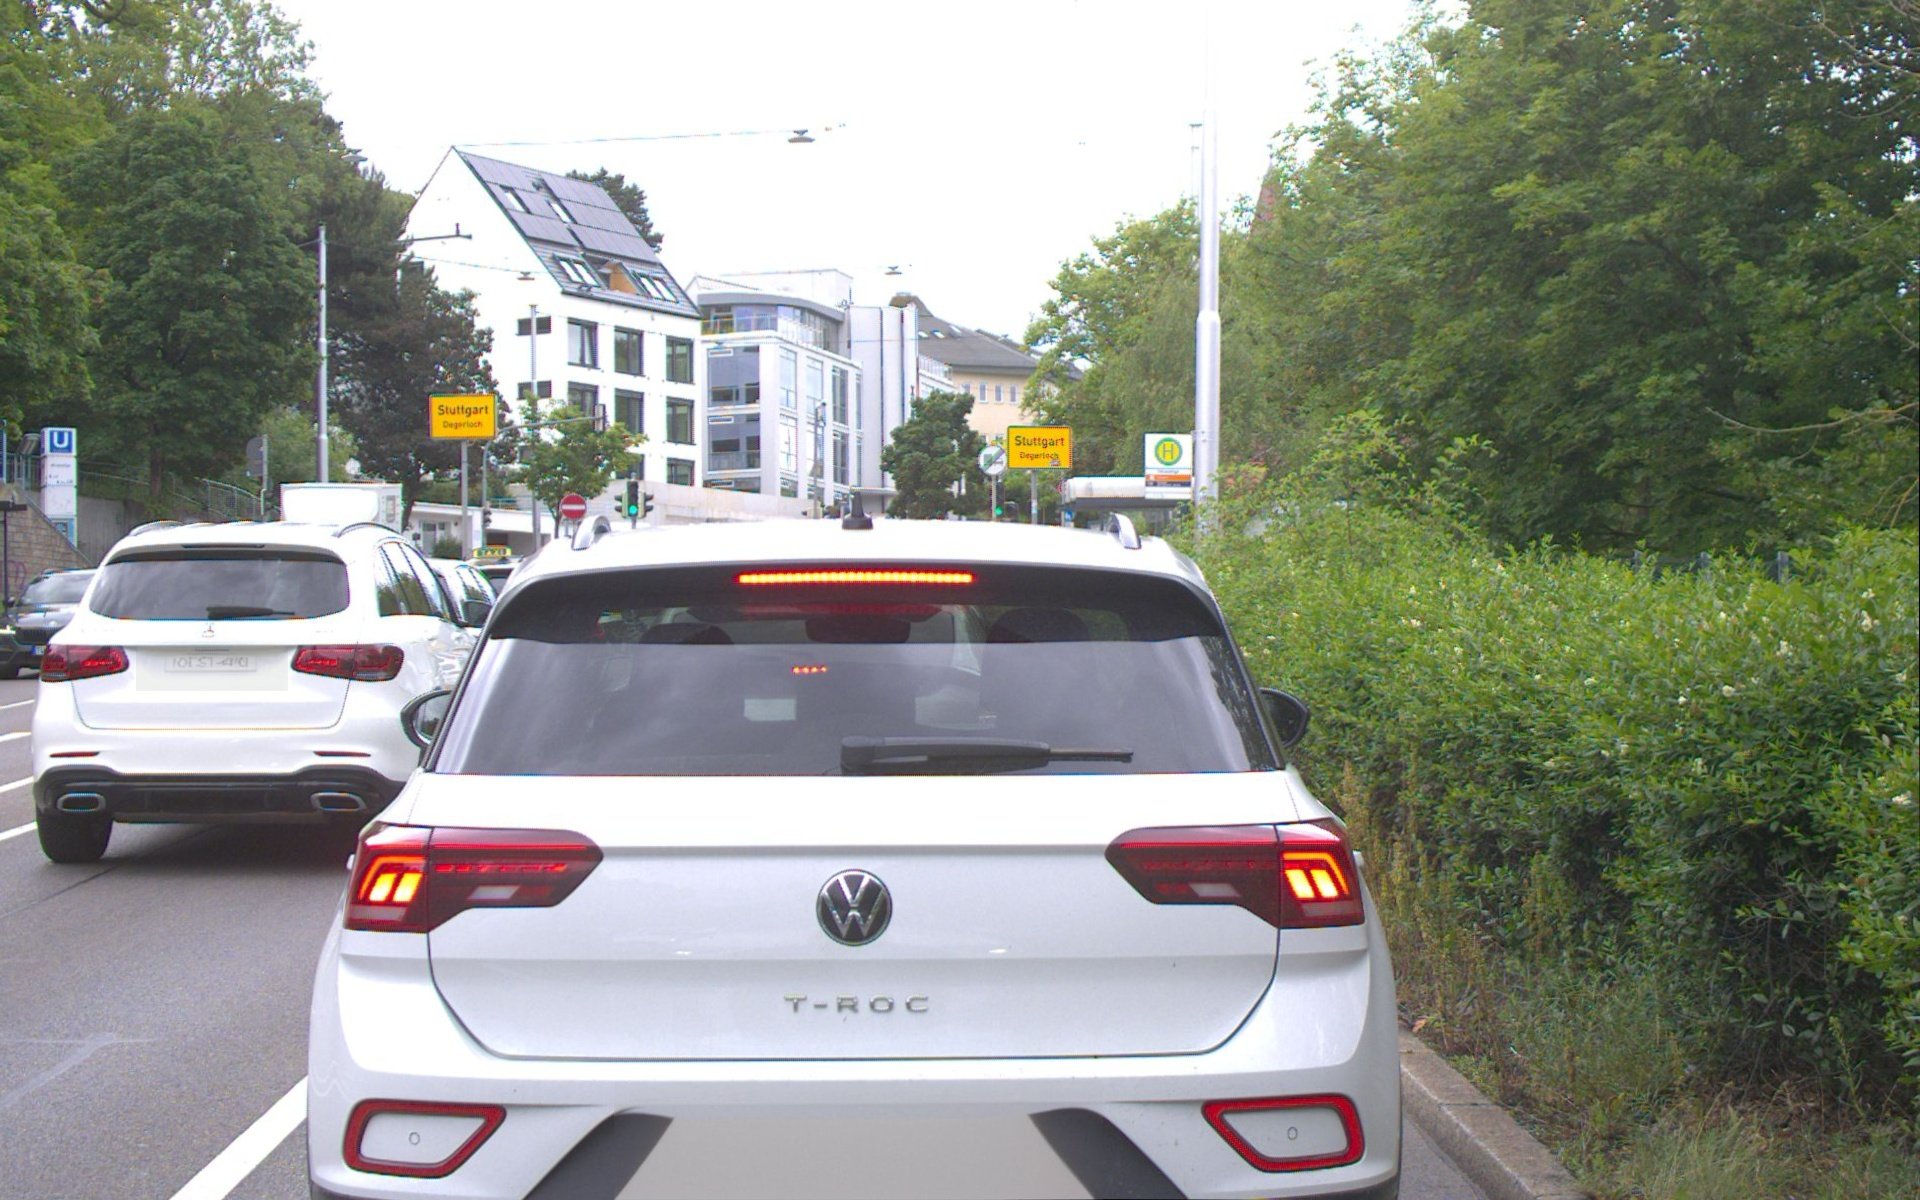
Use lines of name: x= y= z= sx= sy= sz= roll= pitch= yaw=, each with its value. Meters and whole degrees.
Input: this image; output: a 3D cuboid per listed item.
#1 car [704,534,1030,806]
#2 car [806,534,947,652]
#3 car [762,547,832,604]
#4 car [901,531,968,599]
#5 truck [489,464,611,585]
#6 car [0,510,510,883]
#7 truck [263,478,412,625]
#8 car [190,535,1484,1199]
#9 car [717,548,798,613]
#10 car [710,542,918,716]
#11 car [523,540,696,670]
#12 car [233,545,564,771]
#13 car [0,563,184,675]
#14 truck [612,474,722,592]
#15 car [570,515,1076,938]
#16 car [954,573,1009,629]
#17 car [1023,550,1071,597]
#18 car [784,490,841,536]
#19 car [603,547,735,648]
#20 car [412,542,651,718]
car: x=-0.582 y=0.367 z=21.572 sx=1.829 sy=1.520 sz=4.000 roll=-1 pitch=1 yaw=-1
car: x=-1.148 y=-0.124 z=47.111 sx=1.829 sy=1.520 sz=4.000 roll=-1 pitch=1 yaw=-1
car: x=-4.530 y=-0.691 z=96.088 sx=1.829 sy=1.520 sz=4.000 roll=-1 pitch=1 yaw=-1
car: x=-0.786 y=-1.073 z=105.417 sx=1.993 sy=2.007 sz=4.000 roll=-1 pitch=1 yaw=-1
truck: x=-9.593 y=-1.771 z=80.779 sx=2.362 sy=2.697 sz=4.478 roll=-2 pitch=1 yaw=-1
car: x=-3.463 y=0.403 z=17.469 sx=1.918 sy=1.664 sz=4.000 roll=0 pitch=1 yaw=-1
truck: x=-13.710 y=-1.057 z=76.113 sx=2.293 sy=3.040 sz=6.980 roll=-1 pitch=1 yaw=-3
car: x=-0.219 y=0.643 z=6.883 sx=1.829 sy=1.520 sz=4.000 roll=0 pitch=1 yaw=-1
car: x=-4.980 y=-0.495 z=84.981 sx=1.829 sy=1.520 sz=4.000 roll=-1 pitch=1 yaw=-1
car: x=-1.354 y=0.229 z=32.688 sx=1.829 sy=1.520 sz=4.000 roll=-1 pitch=1 yaw=-1
car: x=-4.327 y=0.024 z=42.974 sx=1.829 sy=1.520 sz=4.000 roll=-1 pitch=1 yaw=-1
car: x=-4.009 y=0.358 z=25.140 sx=1.829 sy=1.492 sz=4.000 roll=-1 pitch=1 yaw=-1
car: x=-11.800 y=0.220 z=46.465 sx=1.679 sy=1.390 sz=4.361 roll=-2 pitch=1 yaw=-1
truck: x=-7.231 y=-1.657 z=85.208 sx=2.362 sy=2.772 sz=4.478 roll=-2 pitch=1 yaw=-1
car: x=-0.552 y=0.432 z=14.608 sx=1.829 sy=1.520 sz=4.000 roll=-1 pitch=1 yaw=-1
car: x=0.792 y=0.046 z=128.120 sx=1.993 sy=2.007 sz=4.000 roll=-1 pitch=0 yaw=0
car: x=3.897 y=-1.198 z=154.791 sx=1.993 sy=2.007 sz=4.000 roll=-1 pitch=0 yaw=0
car: x=-4.982 y=-2.942 z=116.706 sx=1.829 sy=1.520 sz=4.000 roll=-1 pitch=1 yaw=-1
car: x=-4.580 y=-0.070 z=54.592 sx=1.829 sy=1.520 sz=4.000 roll=-1 pitch=1 yaw=-1
car: x=-3.963 y=0.236 z=32.375 sx=1.829 sy=1.520 sz=4.000 roll=-1 pitch=1 yaw=-1
